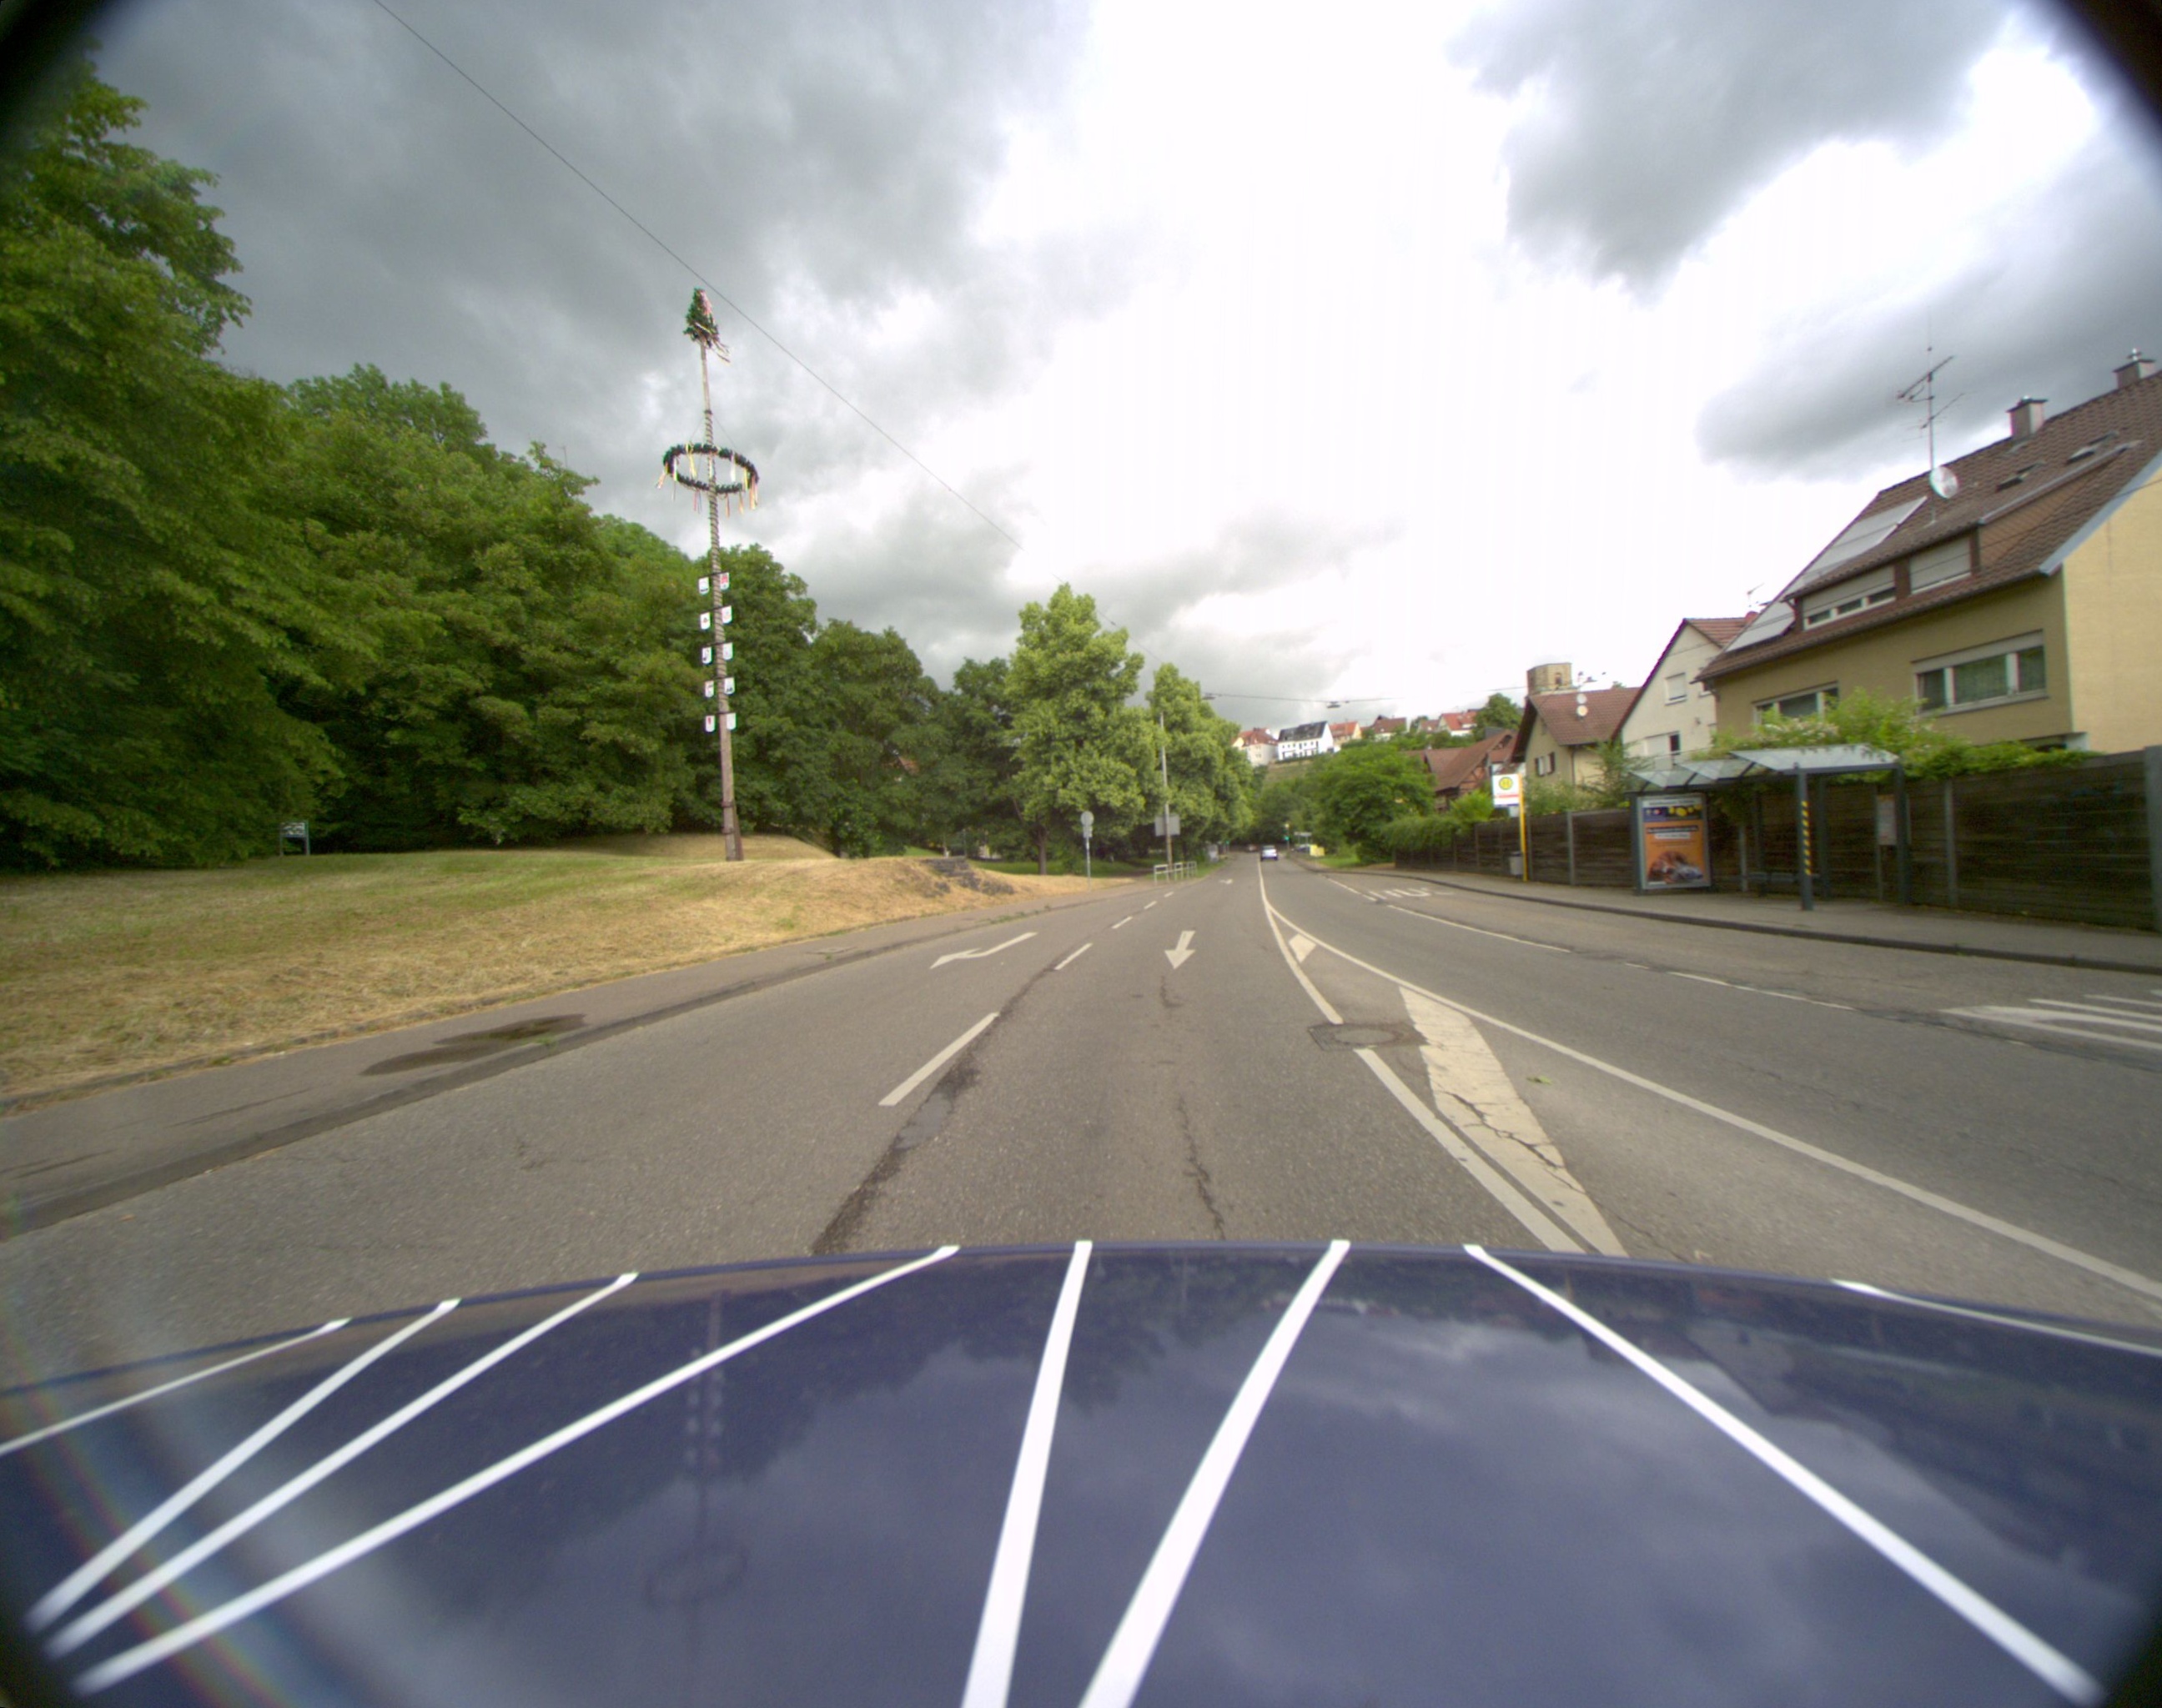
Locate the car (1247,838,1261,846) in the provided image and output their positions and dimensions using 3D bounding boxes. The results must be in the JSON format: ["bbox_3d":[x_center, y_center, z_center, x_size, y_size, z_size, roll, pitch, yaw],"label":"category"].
[{"bbox_3d":[34.672,-2.410,152.269,1.998,1.565,4.000,-2,0,2],"label":"car"}]

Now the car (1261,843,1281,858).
[{"bbox_3d":[21.825,-0.461,87.300,1.997,1.608,4.003,-2,0,11],"label":"car"}]

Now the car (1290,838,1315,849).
[{"bbox_3d":[35.598,-1.705,122.054,3.675,1.575,1.767,-2,0,20],"label":"car"}]
